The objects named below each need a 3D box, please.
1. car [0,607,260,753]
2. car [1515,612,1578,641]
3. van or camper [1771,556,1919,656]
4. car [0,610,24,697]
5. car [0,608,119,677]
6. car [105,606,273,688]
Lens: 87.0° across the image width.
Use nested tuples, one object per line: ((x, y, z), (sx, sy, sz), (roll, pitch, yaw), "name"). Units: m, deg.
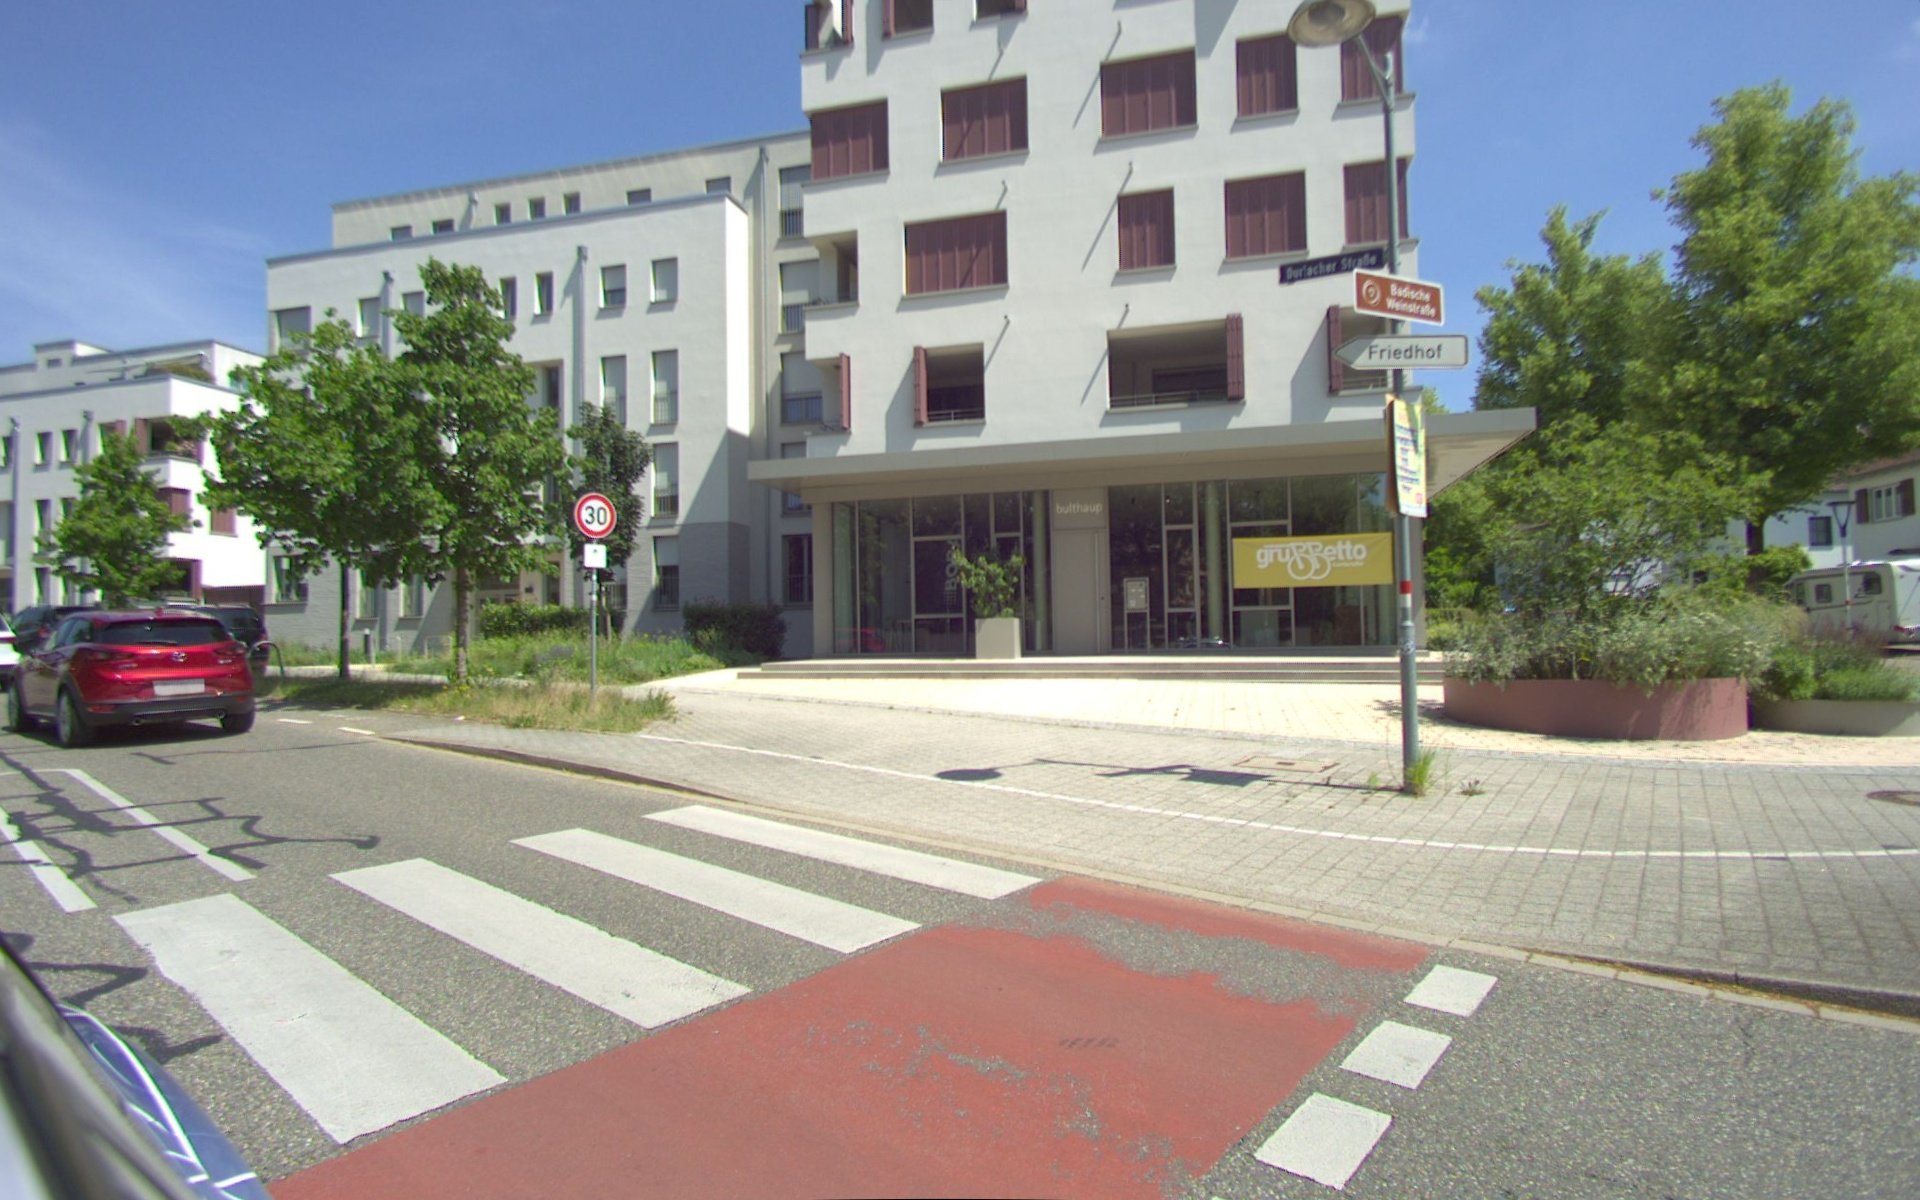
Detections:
((-10.324, 0.883, 12.466), (3.987, 1.516, 1.734), (-2, -2, 39), "car")
((31.563, 1.419, 54.588), (1.738, 1.516, 3.977), (-1, -1, 12), "car")
((27.231, 0.145, 30.062), (2.250, 2.658, 5.864), (-4, -2, 11), "van or camper")
((-19.892, 1.014, 19.592), (4.111, 1.621, 1.795), (-1, -1, 35), "car")
((-24.093, 1.080, 26.890), (3.616, 1.713, 1.681), (-1, -1, 33), "car")
((-16.987, 0.983, 22.254), (4.008, 1.650, 1.681), (-1, -1, 33), "car")
